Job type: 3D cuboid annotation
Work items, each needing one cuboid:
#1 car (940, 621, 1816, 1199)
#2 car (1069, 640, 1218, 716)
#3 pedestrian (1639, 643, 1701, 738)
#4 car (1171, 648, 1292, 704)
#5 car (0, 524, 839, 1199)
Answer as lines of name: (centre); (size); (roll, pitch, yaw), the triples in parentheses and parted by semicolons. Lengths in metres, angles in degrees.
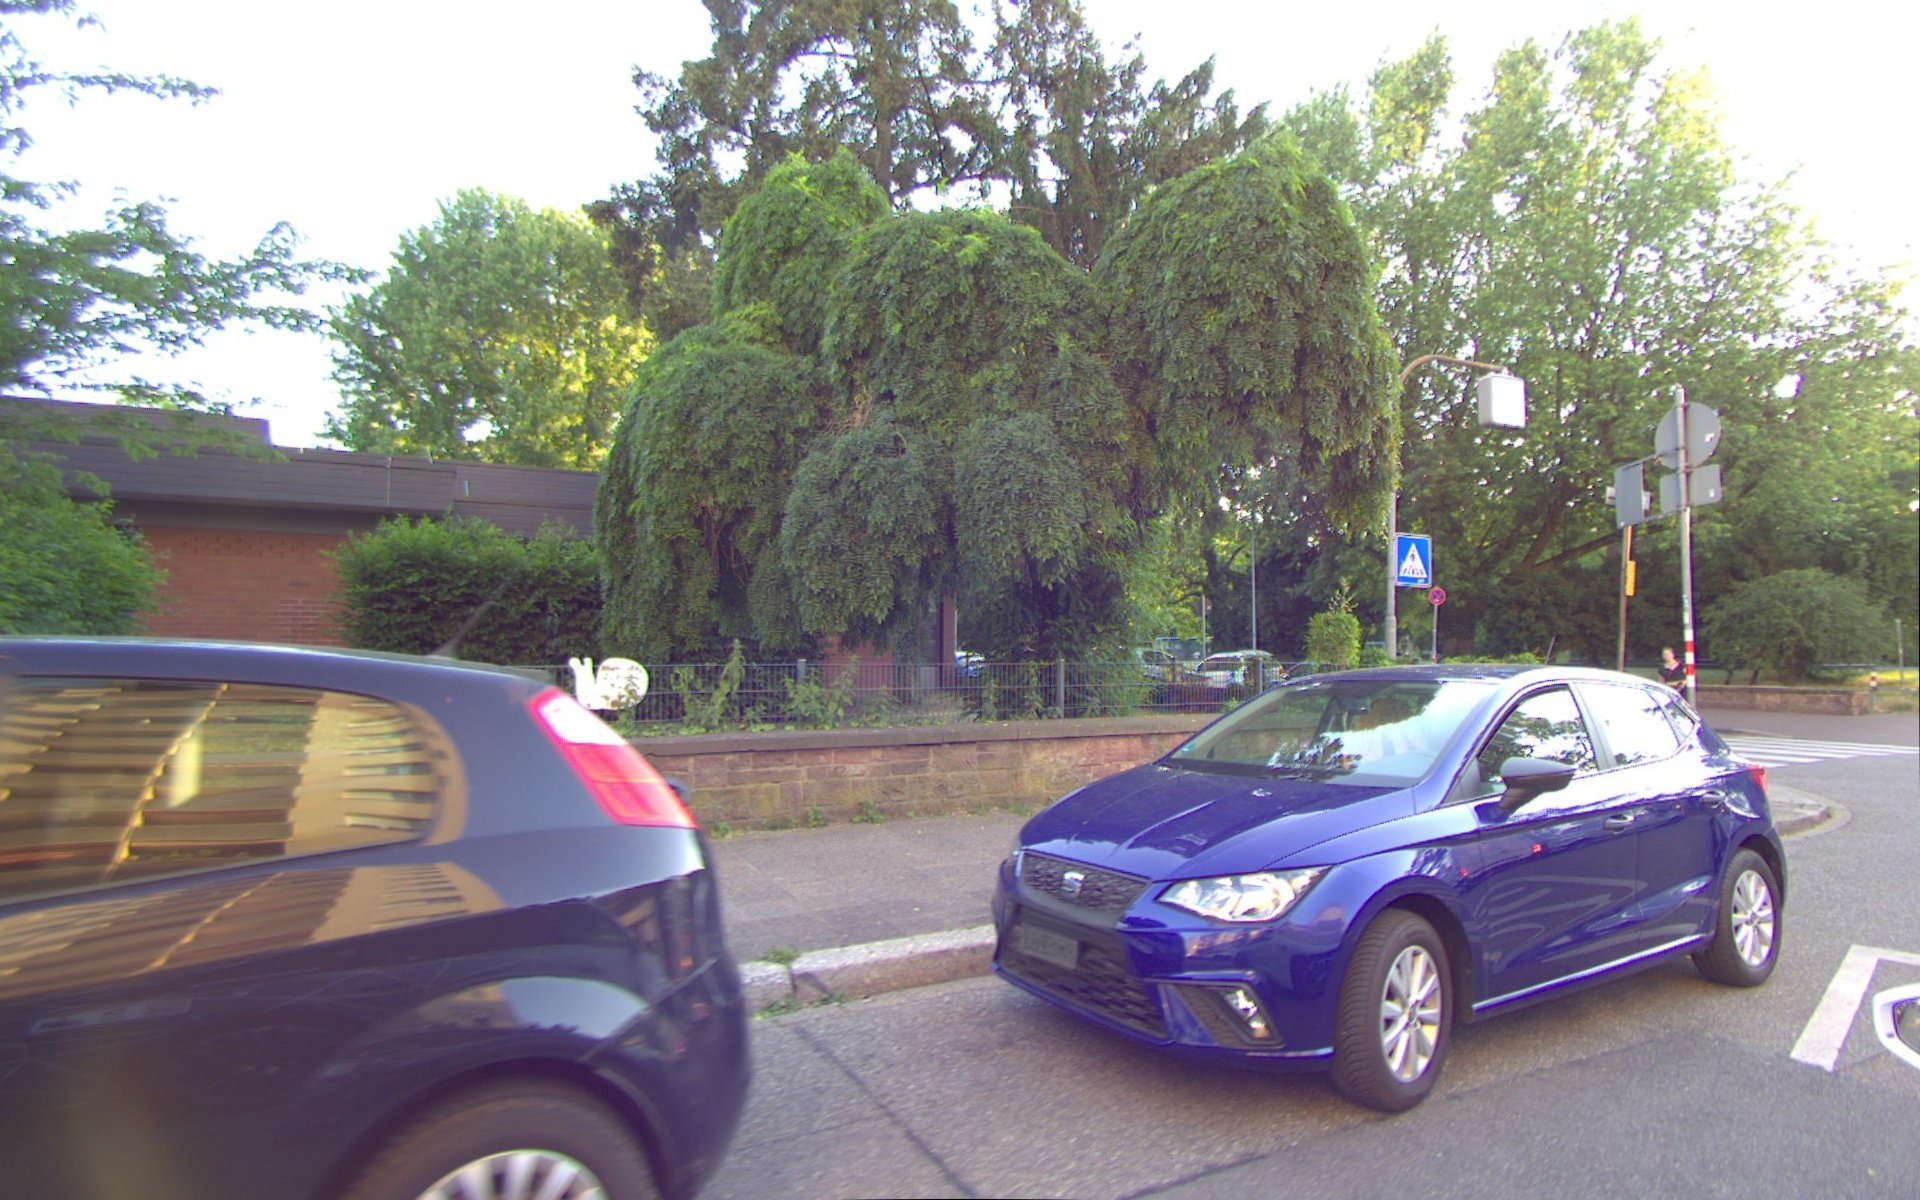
car: (1.952, 0.952, 4.480); (3.748, 1.587, 1.725); (2, -4, -32)
car: (4.850, 2.091, 27.085); (1.799, 1.821, 4.216); (5, -5, -25)
pedestrian: (12.970, 1.640, 18.354); (0.663, 1.670, 0.646); (1, -1, -17)
car: (9.075, 2.539, 33.916); (1.798, 1.583, 3.860); (-5, -1, -24)
car: (-2.260, 0.720, 1.986); (3.655, 1.587, 1.725); (2, -4, -31)
